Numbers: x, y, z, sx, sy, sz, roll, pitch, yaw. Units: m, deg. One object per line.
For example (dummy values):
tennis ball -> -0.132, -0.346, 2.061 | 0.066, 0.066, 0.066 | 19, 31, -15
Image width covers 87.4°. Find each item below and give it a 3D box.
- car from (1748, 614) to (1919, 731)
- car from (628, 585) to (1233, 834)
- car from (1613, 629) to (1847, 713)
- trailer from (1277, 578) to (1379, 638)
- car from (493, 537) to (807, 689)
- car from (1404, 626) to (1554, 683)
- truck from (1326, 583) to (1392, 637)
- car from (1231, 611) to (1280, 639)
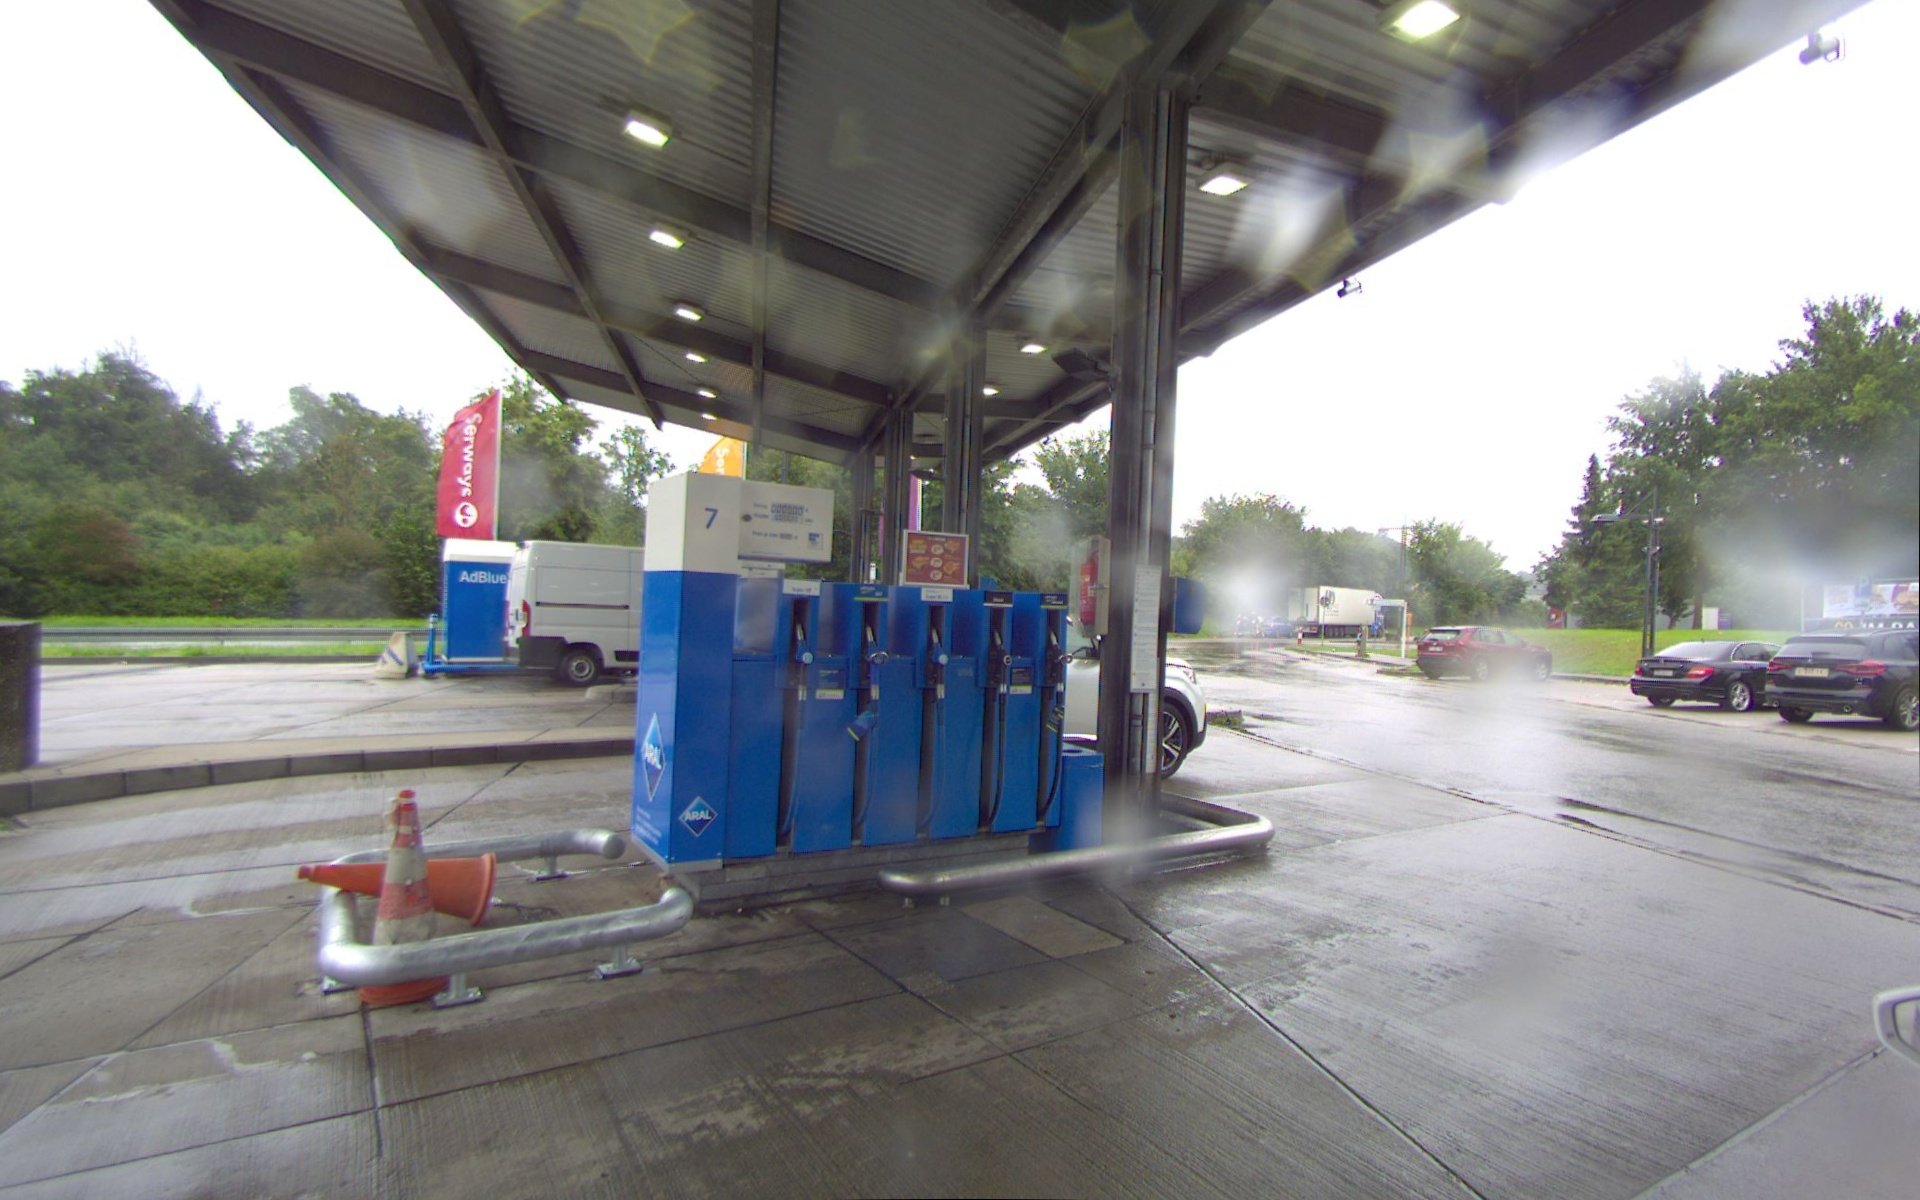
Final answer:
car -> 16.150, 1.192, 17.404 | 4.344, 1.852, 1.883 | 1, -1, -19
car -> -0.052, 0.740, 8.536 | 4.953, 1.586, 1.802 | 1, 0, -35
car -> 15.937, 1.421, 20.824 | 4.119, 1.585, 1.883 | 1, -1, -19
trailer -> 30.911, 0.766, 83.856 | 3.416, 4.618, 13.847 | 2, 0, 40
car -> -5.765, 0.273, 18.942 | 5.227, 2.496, 2.306 | 1, -1, -34
car -> 16.000, 1.651, 30.970 | 4.294, 1.617, 1.879 | 1, -1, -24
truck -> 35.584, 0.937, 89.460 | 3.416, 4.618, 6.704 | 2, 0, 40
car -> 20.847, 1.738, 70.758 | 1.903, 1.862, 4.373 | 1, 0, 38
